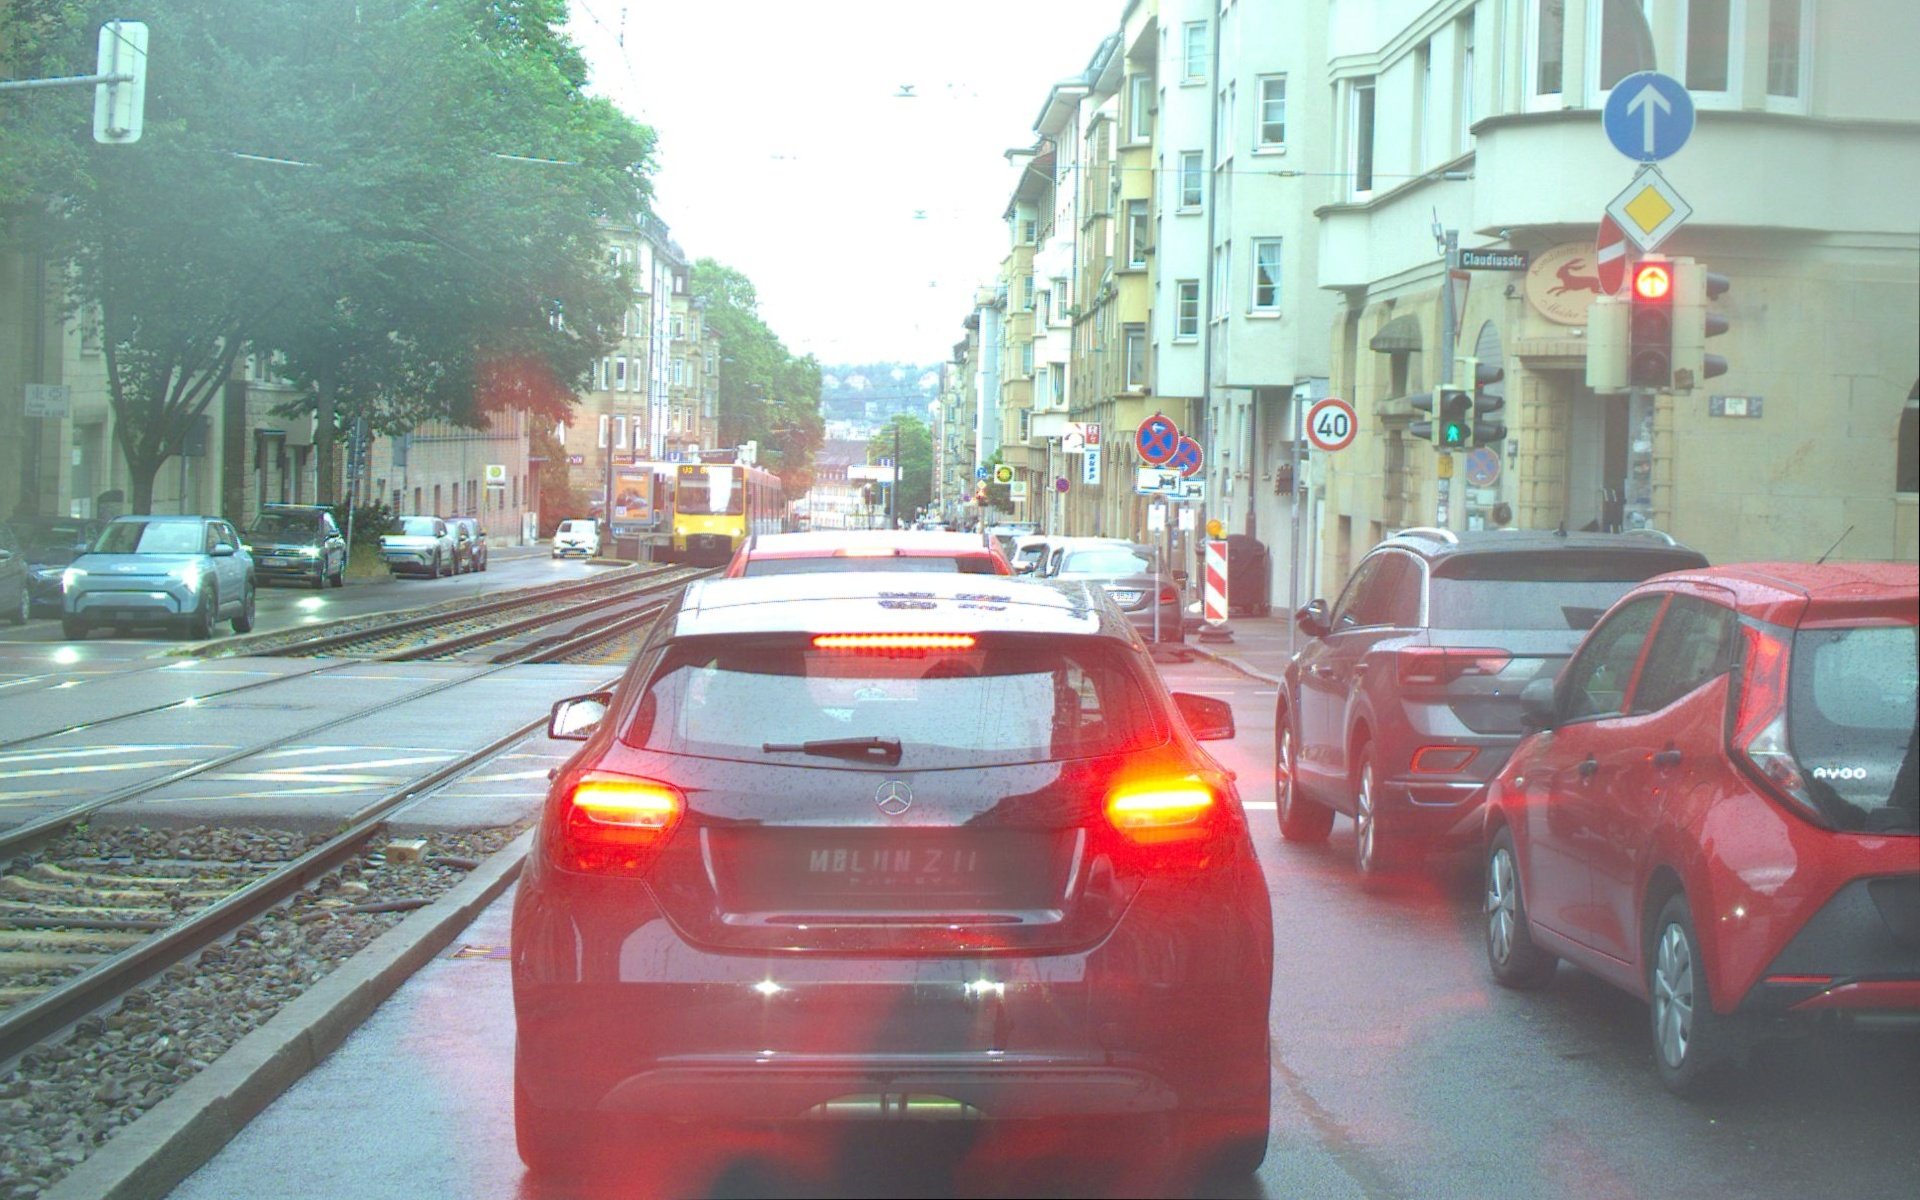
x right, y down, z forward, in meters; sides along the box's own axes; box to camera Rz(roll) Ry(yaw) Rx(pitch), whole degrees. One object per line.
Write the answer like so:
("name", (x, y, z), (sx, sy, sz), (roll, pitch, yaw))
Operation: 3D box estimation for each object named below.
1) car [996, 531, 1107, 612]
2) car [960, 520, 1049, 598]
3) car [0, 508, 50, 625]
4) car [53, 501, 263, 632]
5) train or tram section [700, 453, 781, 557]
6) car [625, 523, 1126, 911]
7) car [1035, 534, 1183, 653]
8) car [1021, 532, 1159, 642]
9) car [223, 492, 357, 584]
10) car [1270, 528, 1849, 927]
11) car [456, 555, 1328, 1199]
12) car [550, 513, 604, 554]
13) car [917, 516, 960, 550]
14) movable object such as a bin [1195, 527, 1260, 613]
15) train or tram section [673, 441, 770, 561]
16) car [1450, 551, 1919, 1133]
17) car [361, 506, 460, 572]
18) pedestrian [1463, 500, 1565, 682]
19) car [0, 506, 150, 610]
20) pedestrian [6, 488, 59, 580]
("car", (1.611, -0.517, 61.904), (1.789, 1.381, 4.395), (1, 1, -1))
("car", (0.988, -0.886, 74.482), (1.841, 1.602, 4.760), (1, 1, 1))
("car", (-13.420, -0.453, 45.692), (1.689, 1.524, 4.176), (1, 1, -2))
("car", (-10.423, -0.436, 44.948), (1.921, 1.612, 4.129), (1, 1, -2))
("train or tram section", (-8.980, -3.902, 142.124), (2.745, 4.048, 15.663), (1, 1, -2))
("car", (-0.370, 0.439, 16.129), (1.993, 1.520, 4.246), (2, 1, -1))
("car", (1.837, -0.105, 43.620), (1.711, 1.405, 4.817), (1, 1, 1))
("car", (1.803, -0.202, 48.987), (1.712, 1.463, 4.774), (1, 1, -1))
("car", (-13.995, -1.326, 72.057), (1.953, 1.736, 4.780), (4, 2, -2))
("car", (2.583, 0.478, 15.783), (1.867, 1.543, 3.991), (2, 1, -1))
("car", (-0.168, 0.629, 9.285), (1.834, 1.448, 3.902), (1, 1, -1))
("car", (-14.670, -2.531, 131.862), (1.780, 1.497, 4.063), (1, 1, -2))
("car", (-1.006, -3.163, 161.560), (1.887, 1.520, 4.245), (2, 1, 1))
("movable object such as a bin", (4.641, -0.527, 59.780), (0.980, 1.463, 1.273), (1, 0, -1))
("train or tram section", (-8.607, -3.584, 125.837), (2.745, 4.048, 17.216), (1, 1, -2))
("car", (2.716, 0.609, 10.511), (1.705, 1.448, 3.533), (2, 1, -3))
("car", (-14.261, -1.606, 89.457), (1.961, 1.600, 4.329), (2, 2, -2))
("pedestrian", (5.234, -0.087, 32.488), (0.804, 1.681, 0.754), (1, 0, -1))
("car", (-13.464, -0.627, 51.247), (1.780, 1.455, 4.979), (1, 1, -2))
("pedestrian", (-16.962, -1.215, 62.879), (0.728, 1.657, 0.771), (2, 1, -1))
